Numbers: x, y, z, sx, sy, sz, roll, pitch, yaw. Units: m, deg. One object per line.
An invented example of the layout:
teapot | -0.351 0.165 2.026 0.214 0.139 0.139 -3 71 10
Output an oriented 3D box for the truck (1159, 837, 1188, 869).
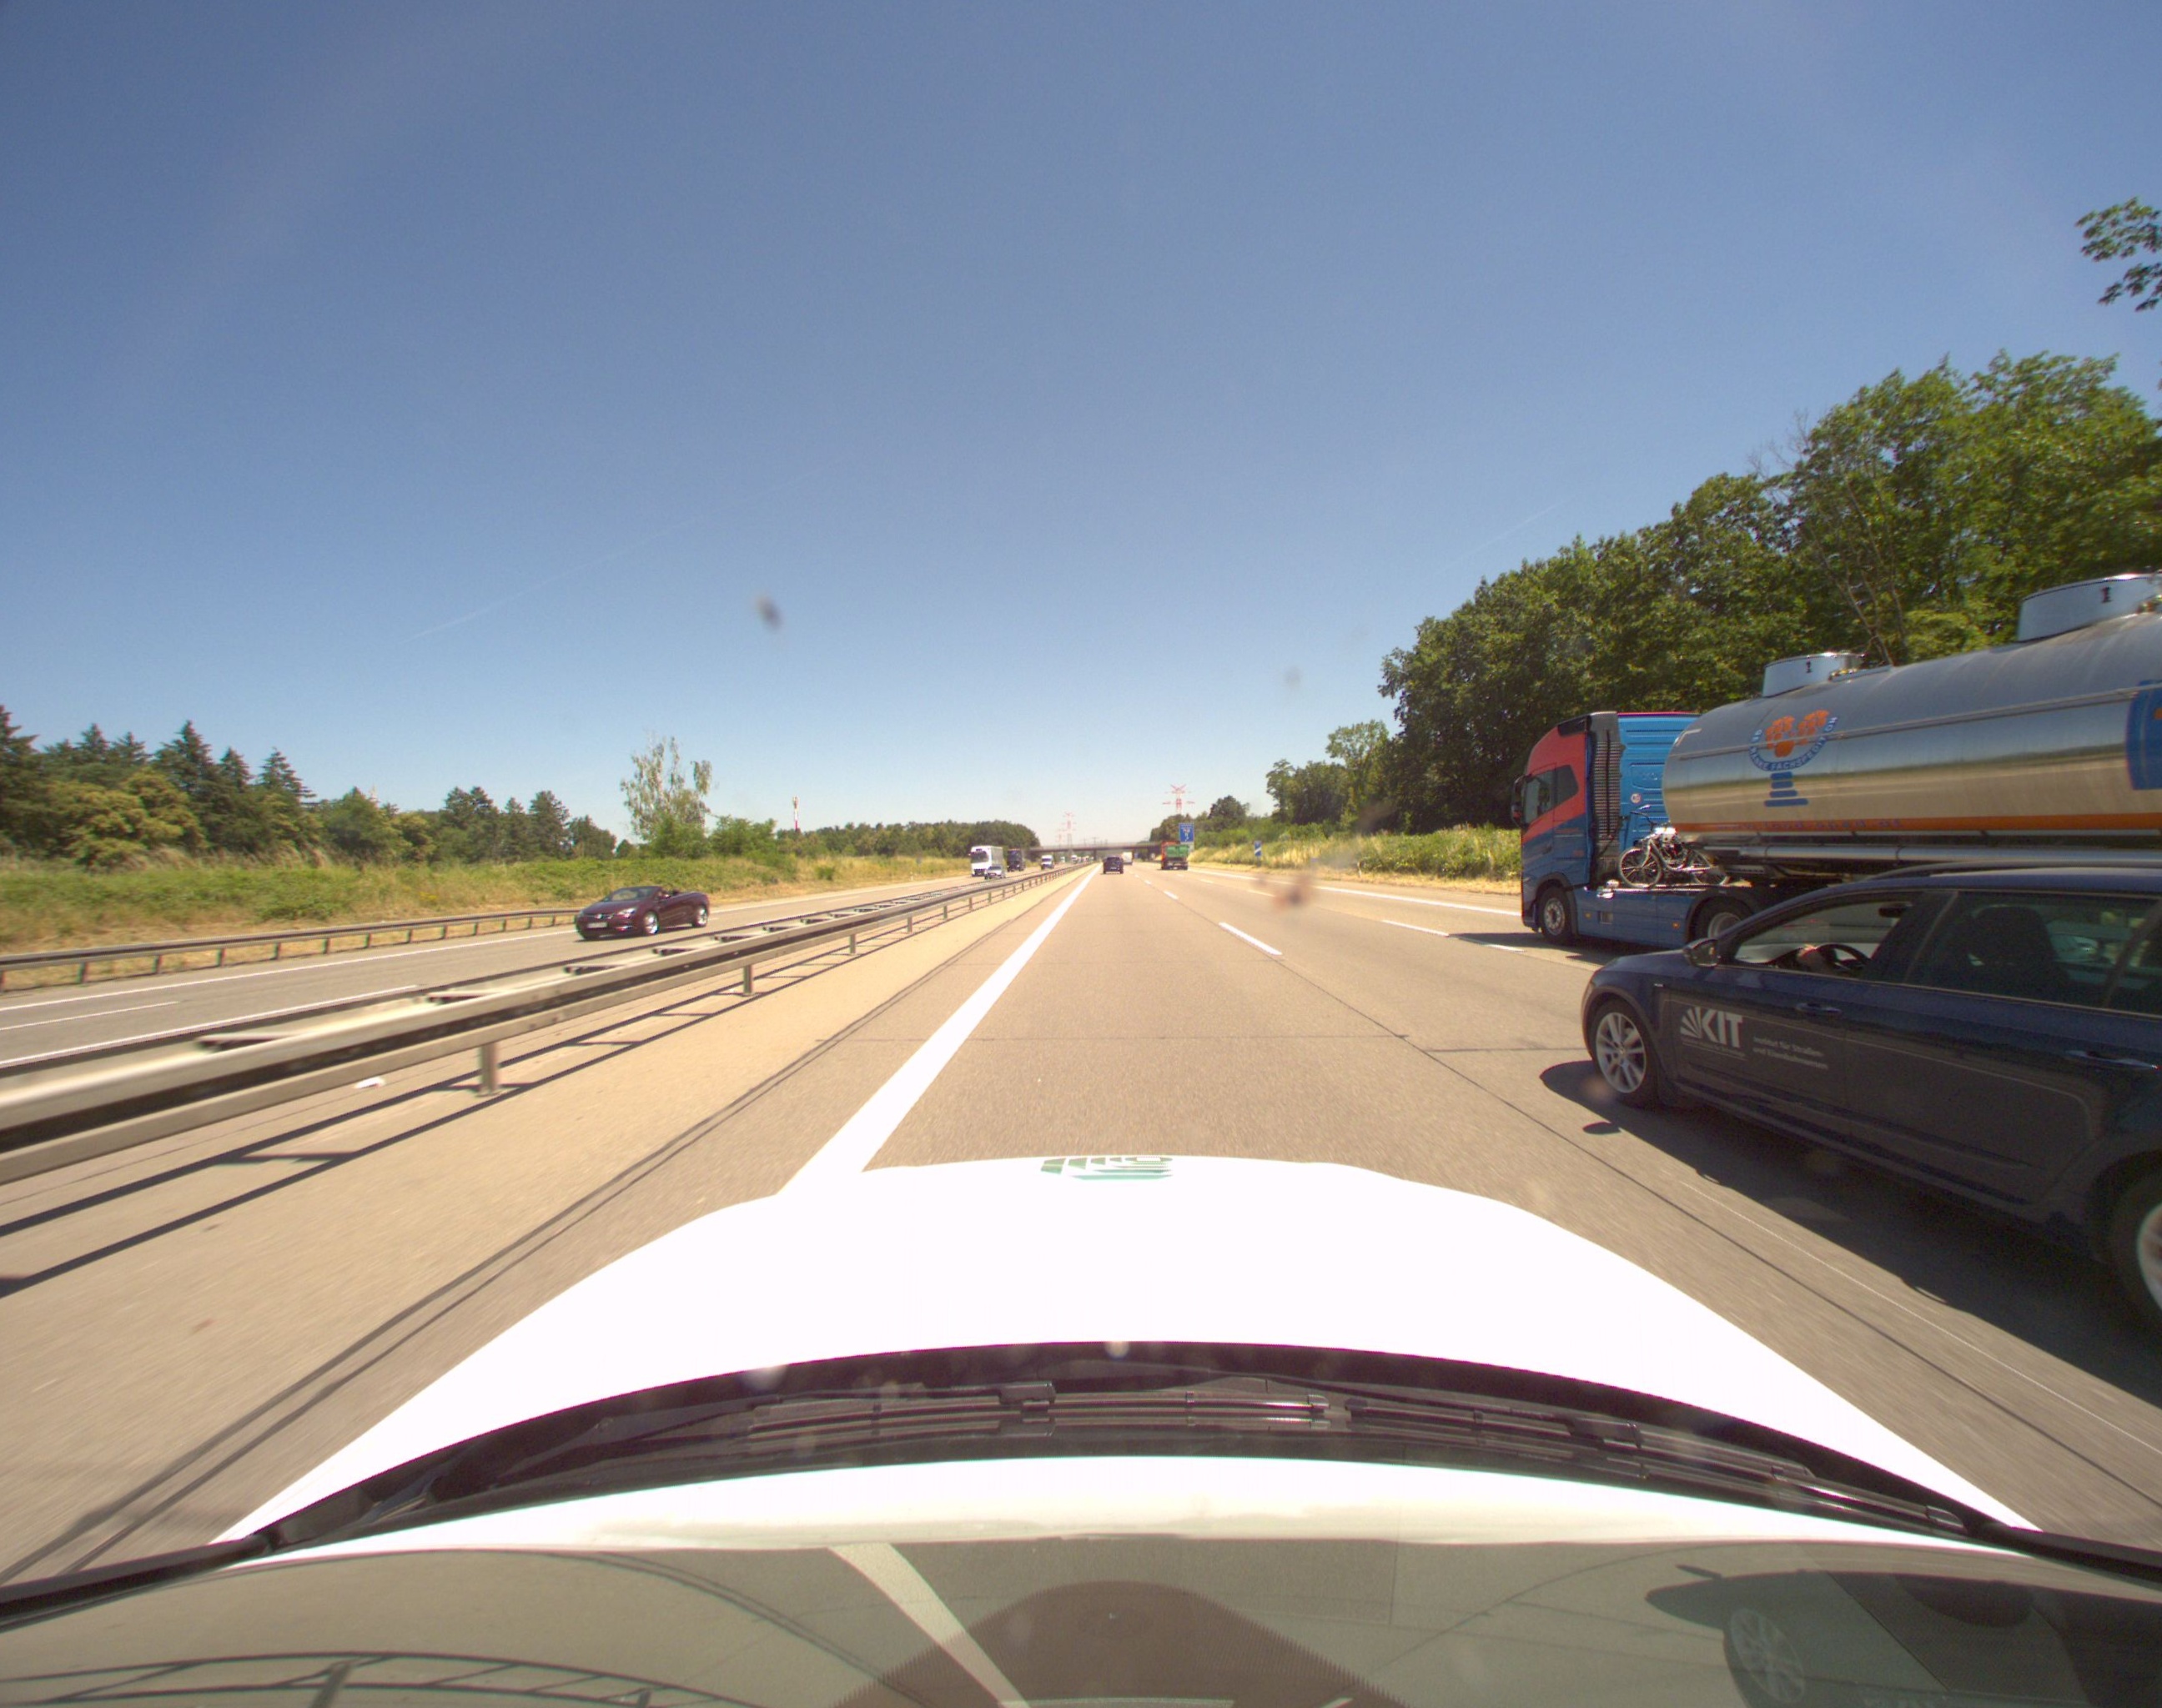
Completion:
truck | 11.770 -0.110 104.483 2.670 3.798 12.483 -1 0 2

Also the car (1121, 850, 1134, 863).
car | 9.797 0.480 172.202 2.611 2.759 6.099 -1 0 2

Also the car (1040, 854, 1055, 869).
car | -6.042 1.404 147.766 1.986 2.570 6.392 -4 0 2

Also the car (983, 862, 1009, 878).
car | -8.698 1.628 83.995 1.955 1.429 5.291 -3 0 1

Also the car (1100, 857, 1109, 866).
car | 4.841 1.570 169.417 1.787 1.750 4.001 0 0 2

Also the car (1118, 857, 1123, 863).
car | 12.521 1.900 258.622 1.740 1.634 4.005 -1 0 2

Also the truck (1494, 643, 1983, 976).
truck | 8.941 -0.484 12.224 2.519 3.734 6.101 0 0 2

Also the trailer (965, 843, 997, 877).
trailer | -13.517 0.827 110.727 3.143 4.198 6.328 -4 0 2

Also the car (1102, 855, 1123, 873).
car | 3.050 0.964 80.008 1.986 1.750 4.001 0 0 1

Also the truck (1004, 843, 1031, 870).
truck | -11.872 0.422 152.432 3.364 4.625 12.192 -4 -1 2

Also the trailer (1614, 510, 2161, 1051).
trailer | 8.745 -0.514 5.897 2.519 3.734 11.553 0 0 2

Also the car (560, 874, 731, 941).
car | -12.444 1.449 23.789 1.955 1.525 5.291 -3 0 1

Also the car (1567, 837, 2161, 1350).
car | 4.035 0.689 3.174 1.795 1.483 4.272 0 0 1
